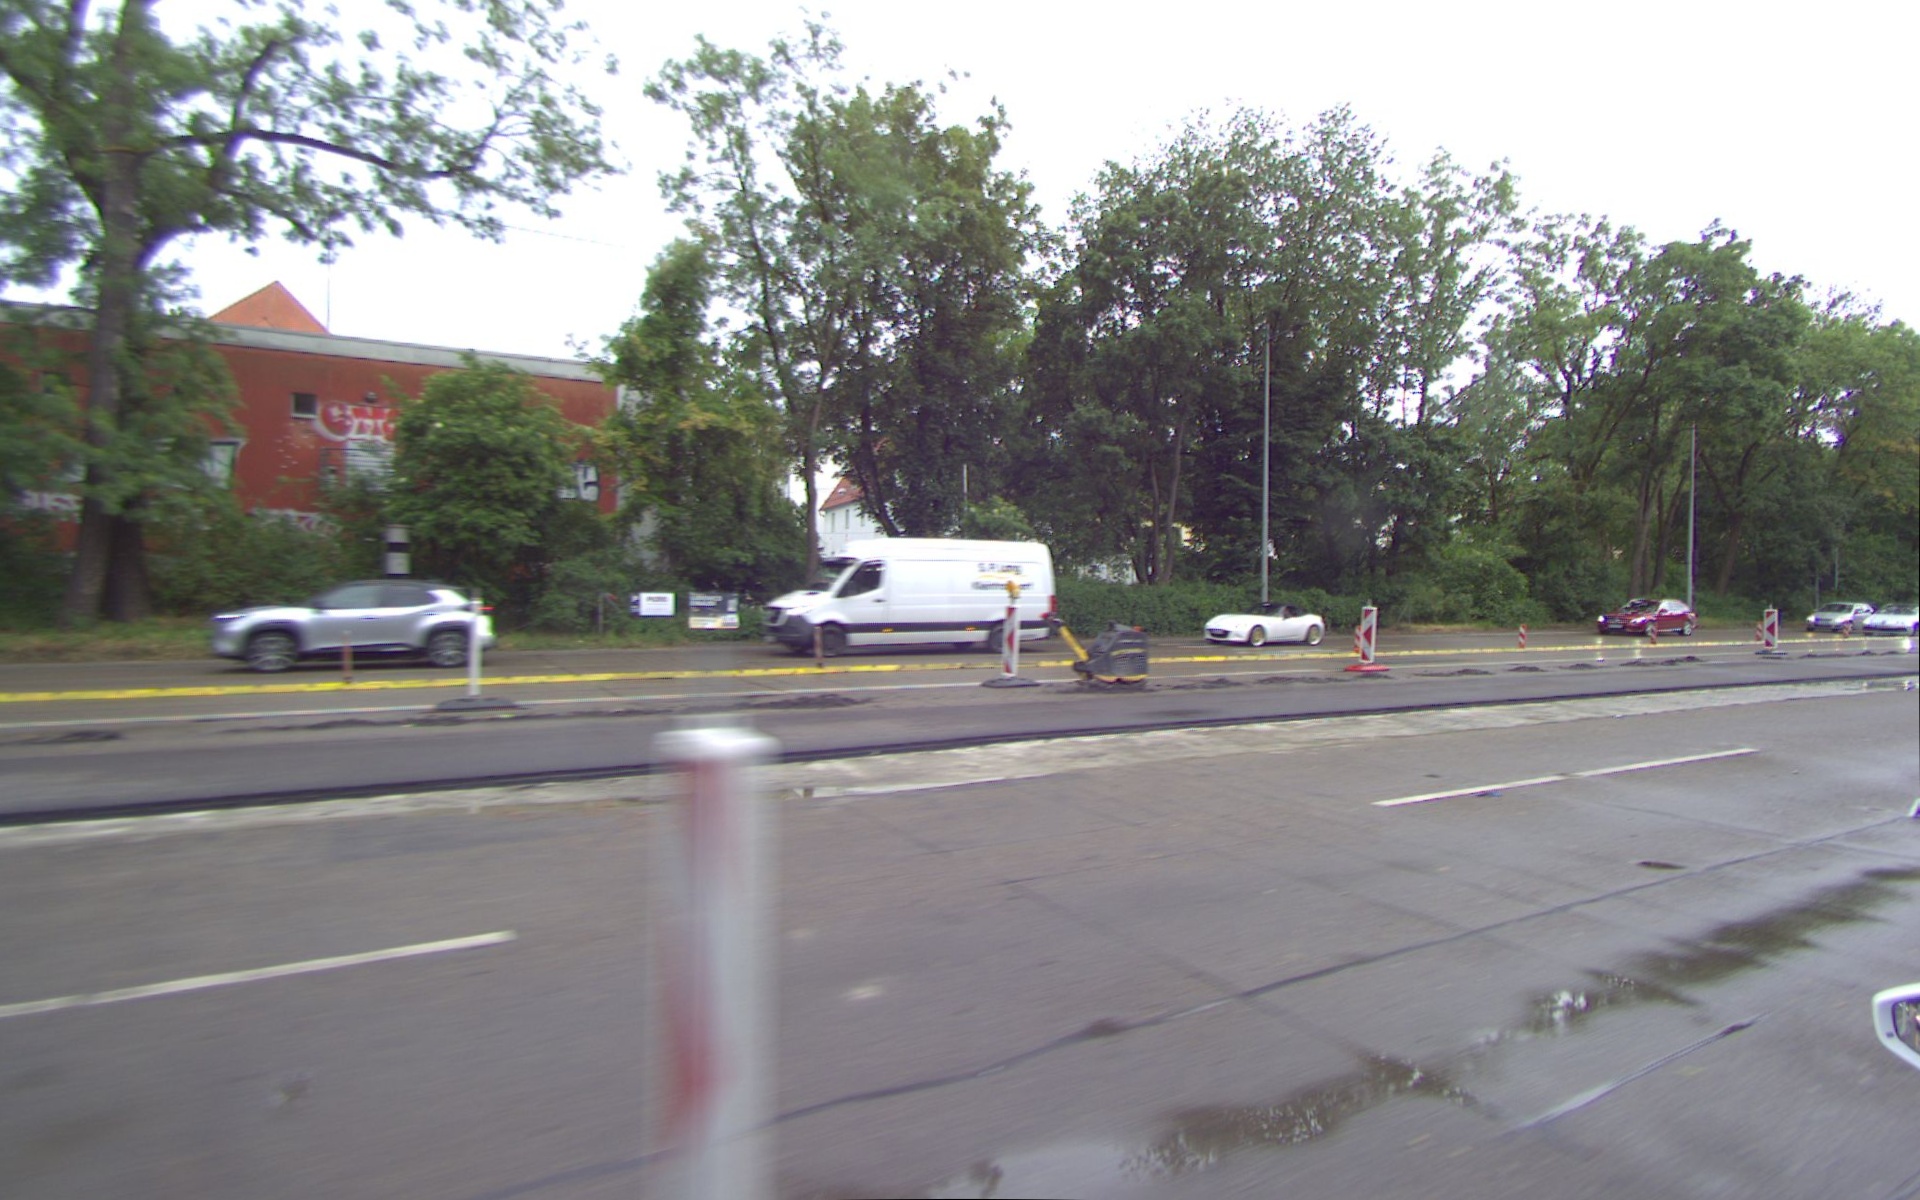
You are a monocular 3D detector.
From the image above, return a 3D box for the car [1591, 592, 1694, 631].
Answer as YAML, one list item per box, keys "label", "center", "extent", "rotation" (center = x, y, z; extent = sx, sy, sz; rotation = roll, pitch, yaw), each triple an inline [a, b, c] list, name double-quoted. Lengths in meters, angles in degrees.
- label: "car"
  center: [27.321, 0.422, 40.158]
  extent: [4.435, 1.496, 1.720]
  rotation: [0, 0, -31]

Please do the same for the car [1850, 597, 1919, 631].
- label: "car"
  center: [41.968, 0.619, 44.877]
  extent: [4.339, 1.434, 1.985]
  rotation: [0, 0, -29]

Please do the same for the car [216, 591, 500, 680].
- label: "car"
  center: [-10.264, 0.551, 17.410]
  extent: [4.034, 1.383, 1.707]
  rotation: [0, 0, -31]

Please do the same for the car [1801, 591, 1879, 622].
- label: "car"
  center: [42.300, 0.302, 48.262]
  extent: [3.594, 1.419, 1.672]
  rotation: [0, 1, -29]

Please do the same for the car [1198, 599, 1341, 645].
- label: "car"
  center: [8.952, 0.595, 29.019]
  extent: [3.950, 1.199, 1.681]
  rotation: [0, 2, -29]

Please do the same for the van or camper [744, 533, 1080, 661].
- label: "van or camper"
  center: [-0.939, -0.101, 23.035]
  extent: [7.637, 2.589, 1.984]
  rotation: [0, 2, -30]
